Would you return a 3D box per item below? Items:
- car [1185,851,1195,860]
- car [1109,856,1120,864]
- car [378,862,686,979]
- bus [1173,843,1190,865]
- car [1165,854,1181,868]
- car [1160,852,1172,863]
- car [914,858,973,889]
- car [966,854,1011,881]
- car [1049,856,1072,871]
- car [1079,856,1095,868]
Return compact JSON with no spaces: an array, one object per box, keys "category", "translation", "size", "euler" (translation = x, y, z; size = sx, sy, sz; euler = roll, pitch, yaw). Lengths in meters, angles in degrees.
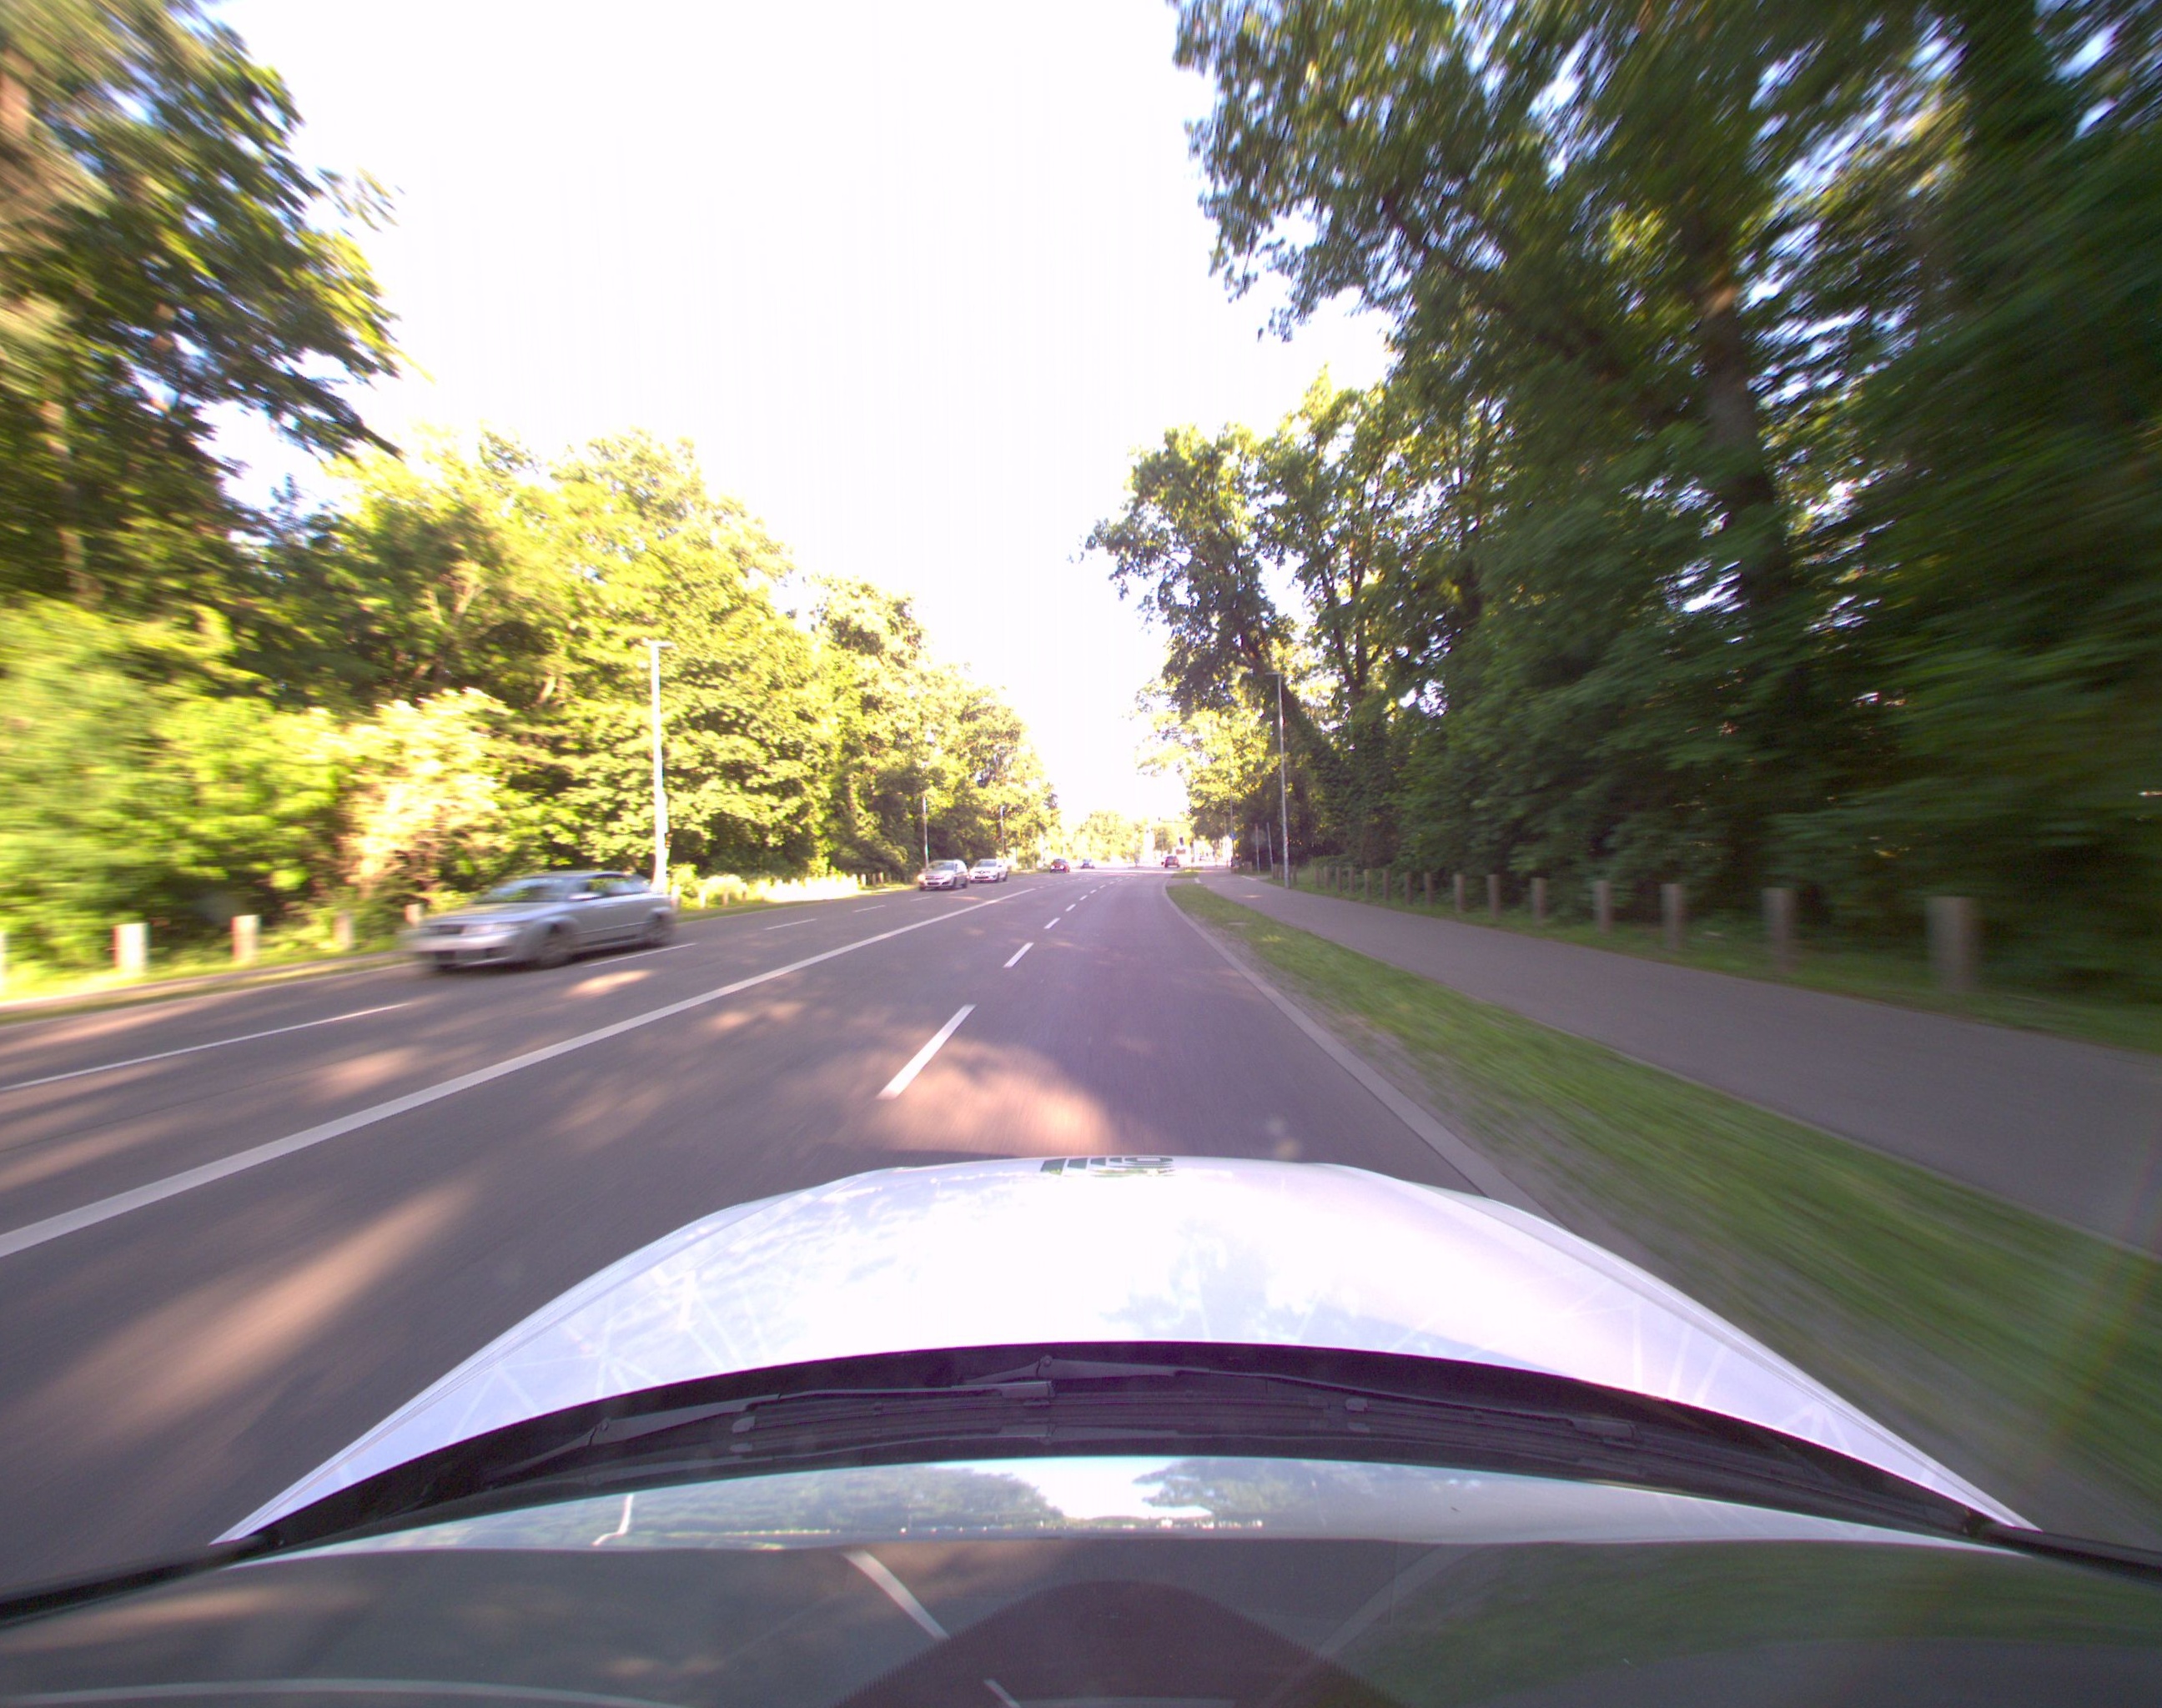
[{"category":"car","translation":[24.177,0.341,180.197],"size":[1.850,1.684,3.786],"euler":[-3,0,13]},{"category":"car","translation":[6.077,1.159,148.632],"size":[1.702,1.464,4.107],"euler":[0,0,6]},{"category":"car","translation":[-8.213,0.897,12.764],"size":[1.771,1.408,4.170],"euler":[-1,1,4]},{"category":"bus","translation":[16.243,-0.052,131.256],"size":[2.590,3.368,7.995],"euler":[-1,0,9]},{"category":"car","translation":[11.954,0.909,106.091],"size":[1.869,1.765,4.010],"euler":[-2,0,9]},{"category":"car","translation":[14.998,0.587,143.560],"size":[1.869,1.765,4.010],"euler":[-2,0,9]},{"category":"car","translation":[-6.731,0.923,40.321],"size":[1.771,1.464,4.281],"euler":[0,0,5]},{"category":"car","translation":[-5.756,0.816,51.166],"size":[1.773,1.522,4.406],"euler":[-2,0,6]},{"category":"car","translation":[-2.069,0.954,83.908],"size":[1.653,1.518,3.816],"euler":[-2,0,9]},{"category":"car","translation":[0.793,1.088,110.596],"size":[1.647,1.508,4.008],"euler":[-2,0,7]}]
